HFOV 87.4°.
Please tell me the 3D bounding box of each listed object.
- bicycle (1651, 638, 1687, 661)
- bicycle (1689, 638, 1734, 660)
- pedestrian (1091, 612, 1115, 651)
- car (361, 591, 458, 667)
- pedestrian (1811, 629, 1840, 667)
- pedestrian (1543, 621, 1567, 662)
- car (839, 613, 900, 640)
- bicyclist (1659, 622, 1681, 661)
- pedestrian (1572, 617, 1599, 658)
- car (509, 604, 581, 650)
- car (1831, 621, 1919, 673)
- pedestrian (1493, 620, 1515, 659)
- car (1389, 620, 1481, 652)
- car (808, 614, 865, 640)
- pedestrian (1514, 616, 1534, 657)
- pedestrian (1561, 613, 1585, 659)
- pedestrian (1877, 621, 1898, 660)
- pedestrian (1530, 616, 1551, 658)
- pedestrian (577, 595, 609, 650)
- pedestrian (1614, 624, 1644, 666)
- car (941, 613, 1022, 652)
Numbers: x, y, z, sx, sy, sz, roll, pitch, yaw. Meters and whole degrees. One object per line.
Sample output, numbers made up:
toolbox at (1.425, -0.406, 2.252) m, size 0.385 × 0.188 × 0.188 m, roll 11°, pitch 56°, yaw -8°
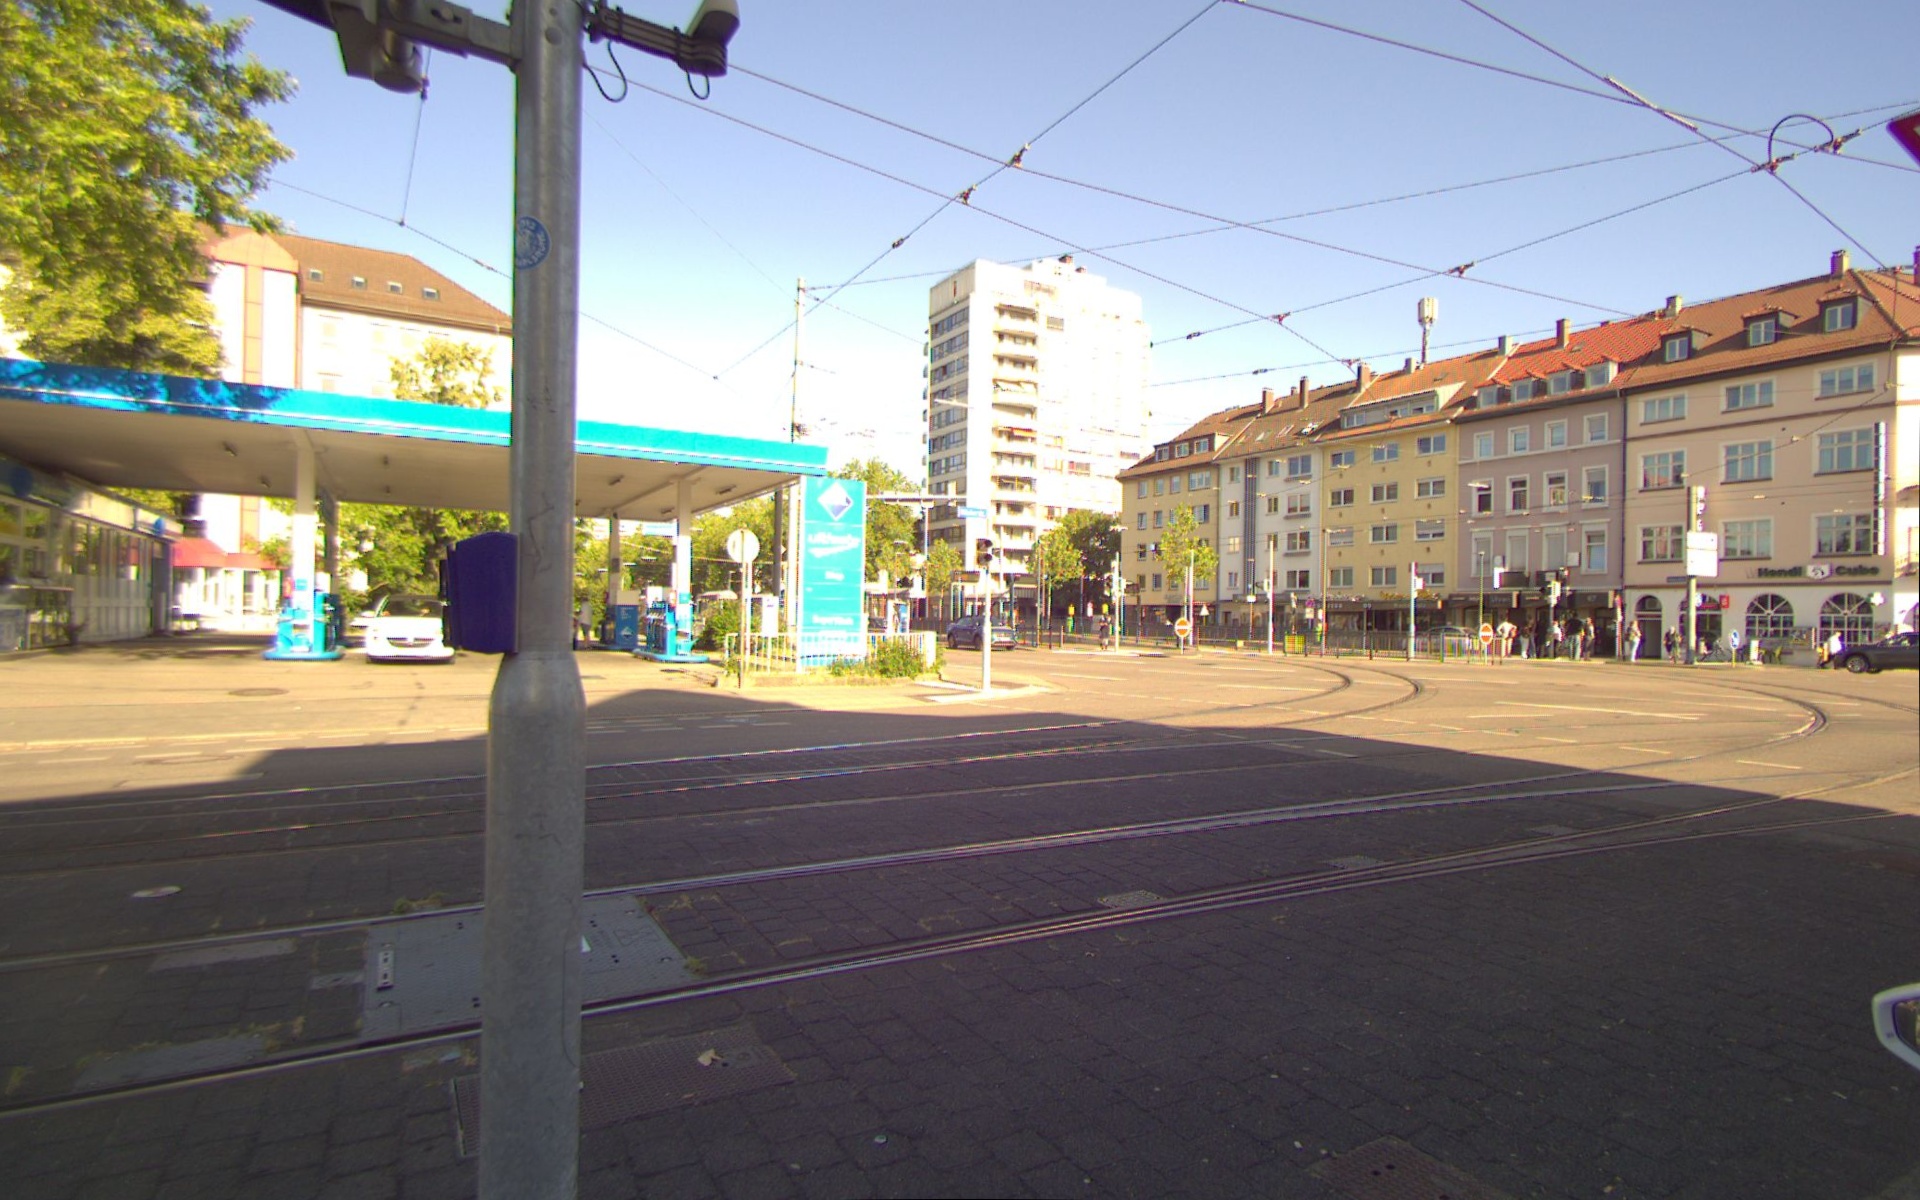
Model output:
bicycle at (33.994, 2.375, 48.145) m, size 1.731 × 1.044 × 0.619 m, roll 2°, pitch 0°, yaw -25°
bicycle at (37.827, 2.467, 50.582) m, size 0.603 × 0.996 × 1.693 m, roll 2°, pitch 0°, yaw -29°
pedestrian at (6.020, 1.319, 42.188) m, size 0.754 × 1.631 × 0.610 m, roll 2°, pitch 0°, yaw -21°
car at (-12.227, 0.587, 22.349) m, size 1.723 × 1.455 × 3.905 m, roll 2°, pitch 1°, yaw -29°
pedestrian at (38.109, 2.112, 44.222) m, size 0.778 × 1.664 × 0.569 m, roll 2°, pitch 0°, yaw -6°
pedestrian at (25.116, 1.744, 42.381) m, size 0.719 × 1.670 × 0.570 m, roll 2°, pitch 0°, yaw -30°
car at (-5.041, 1.435, 55.652) m, size 1.811 × 1.422 × 3.965 m, roll 1°, pitch -1°, yaw -32°
bicyclist at (34.018, 1.976, 48.145) m, size 0.606 × 1.814 × 0.619 m, roll 2°, pitch 0°, yaw -25°
pedestrian at (25.576, 1.537, 41.090) m, size 0.831 × 1.670 × 0.579 m, roll 2°, pitch 0°, yaw -30°
car at (-13.528, 0.853, 32.640) m, size 1.659 × 1.372 × 3.559 m, roll 2°, pitch 0°, yaw -31°
car at (35.143, 1.762, 37.039) m, size 1.797 × 1.797 × 4.208 m, roll 2°, pitch 0°, yaw -30°
pedestrian at (23.874, 1.735, 44.044) m, size 0.609 × 1.670 × 0.581 m, roll 2°, pitch 0°, yaw -30°
car at (23.445, 1.766, 49.682) m, size 1.680 × 1.421 × 3.769 m, roll 2°, pitch 0°, yaw -31°
car at (-7.457, 1.616, 60.389) m, size 1.878 × 1.473 × 3.973 m, roll 1°, pitch -1°, yaw -33°
pedestrian at (23.395, 1.504, 41.675) m, size 0.492 × 1.670 × 0.520 m, roll 2°, pitch 0°, yaw -30°
pedestrian at (24.717, 1.454, 40.501) m, size 0.669 × 1.847 × 0.524 m, roll 2°, pitch 0°, yaw -30°
pedestrian at (40.892, 1.793, 44.289) m, size 0.488 × 1.698 × 0.589 m, roll 2°, pitch 0°, yaw 23°
pedestrian at (23.768, 1.513, 41.126) m, size 0.492 × 1.670 × 0.520 m, roll 2°, pitch 0°, yaw -30°
pedestrian at (-11.711, 0.735, 32.051) m, size 0.838 × 1.724 × 0.644 m, roll 2°, pitch -3°, yaw -31°
pedestrian at (26.369, 1.773, 39.608) m, size 0.805 × 1.615 × 0.665 m, roll 2°, pitch 0°, yaw -30°
car at (0.892, 1.421, 44.533) m, size 1.808 × 1.596 × 4.170 m, roll 1°, pitch 0°, yaw -27°
